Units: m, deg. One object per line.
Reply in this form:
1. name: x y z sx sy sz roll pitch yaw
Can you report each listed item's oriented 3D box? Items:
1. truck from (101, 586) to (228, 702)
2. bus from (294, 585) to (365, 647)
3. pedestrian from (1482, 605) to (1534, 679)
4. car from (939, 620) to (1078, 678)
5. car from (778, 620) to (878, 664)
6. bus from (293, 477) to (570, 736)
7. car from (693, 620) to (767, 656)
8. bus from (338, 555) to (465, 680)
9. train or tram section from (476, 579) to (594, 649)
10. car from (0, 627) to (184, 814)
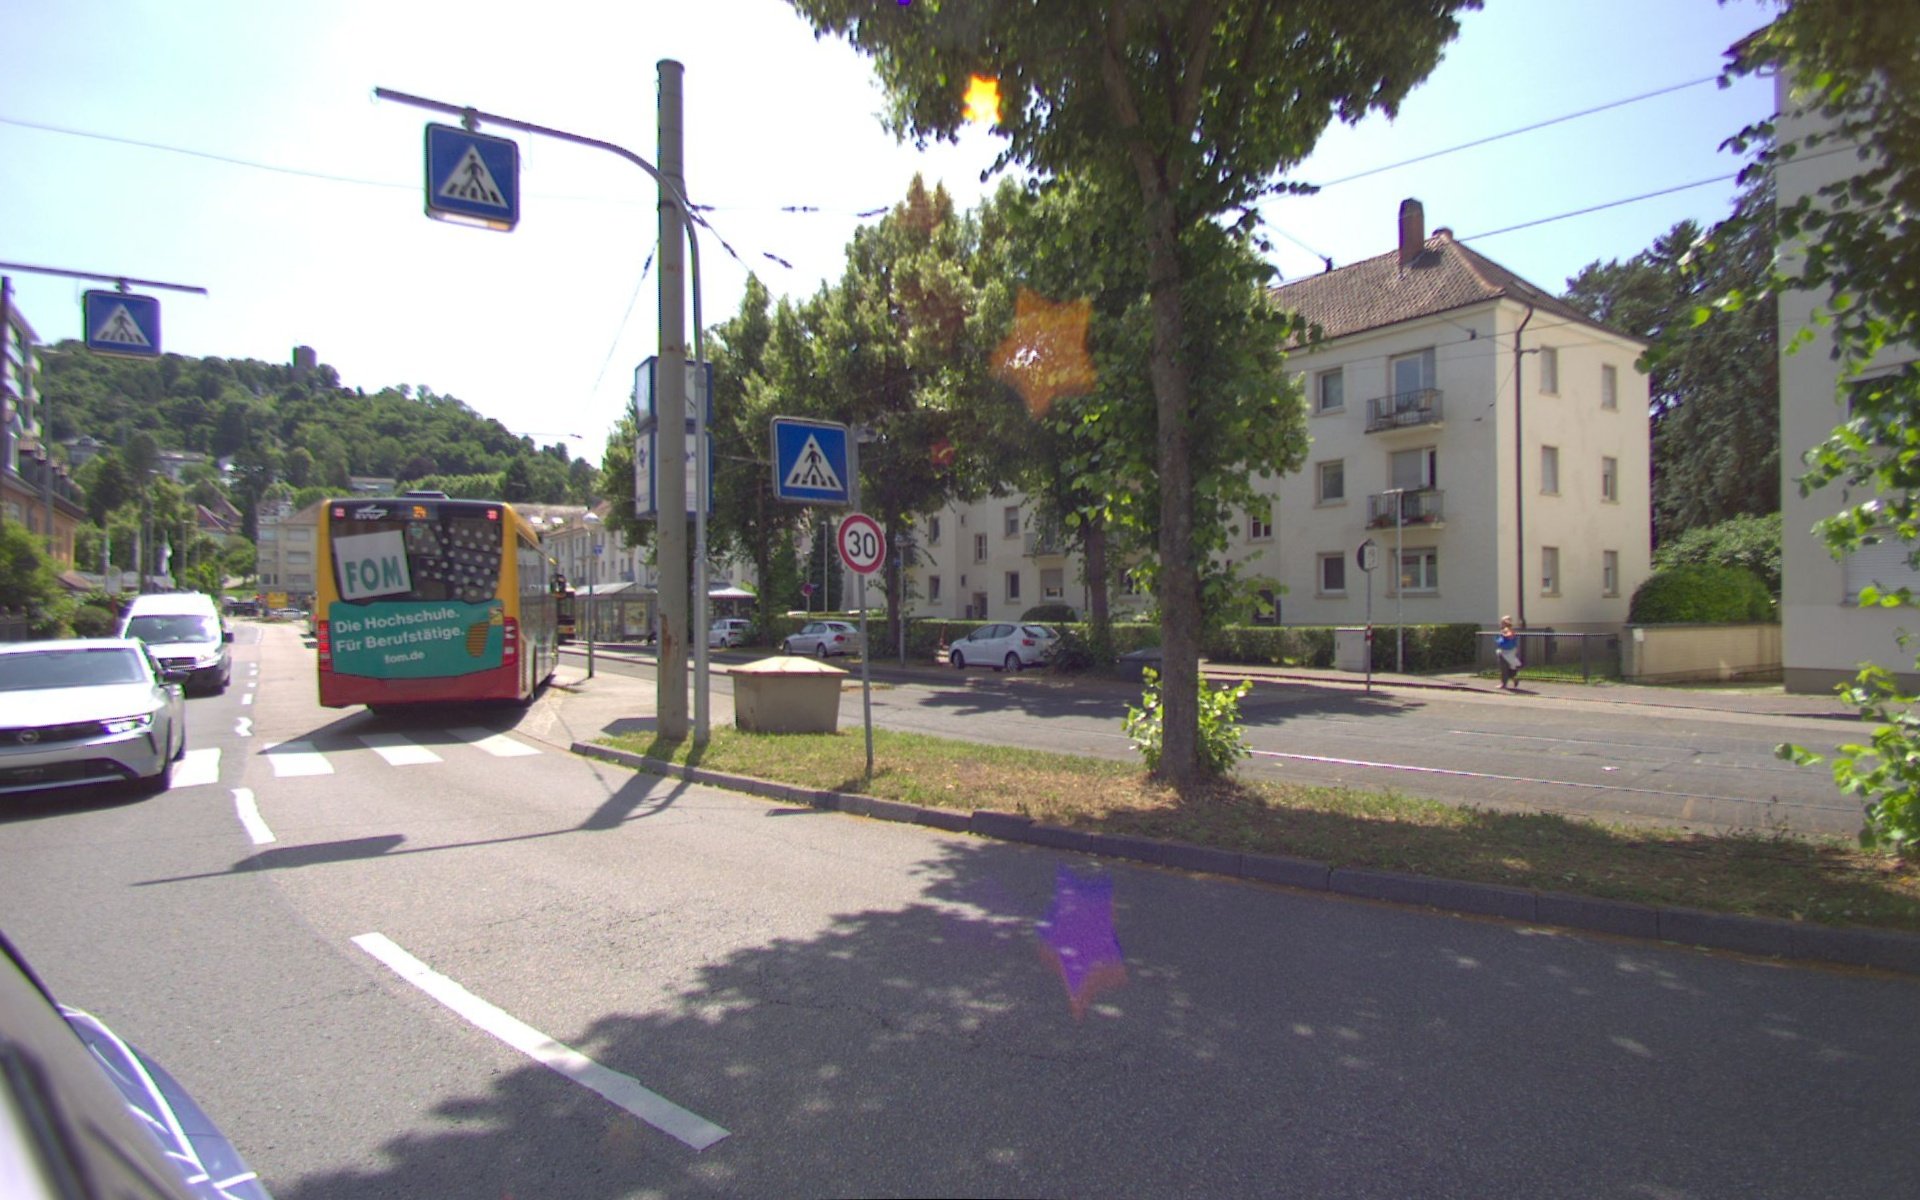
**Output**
1. truck: -17.539 0.926 22.532 1.988 2.266 5.420 0 -1 -36
2. bus: -35.815 0.922 57.336 2.534 3.213 10.177 0 -1 -37
3. pedestrian: 12.061 0.910 22.271 0.765 1.571 0.746 -1 -1 -37
4. car: 1.296 1.324 28.512 1.815 1.493 3.964 0 -1 -37
5. car: -4.946 1.511 37.436 1.815 1.493 4.267 0 -1 -37
6. bus: -8.944 0.165 18.575 2.662 3.322 10.891 -1 -1 -18
7. car: -10.306 1.674 45.256 1.815 1.493 3.881 0 -1 -37
8. bus: -19.791 0.644 35.398 2.652 3.635 12.238 0 -1 -35
9. train or tram section: -24.534 0.738 57.801 2.852 3.547 13.933 -1 0 -37
10. car: -8.846 1.030 9.957 1.773 1.477 4.181 -1 -1 -36
